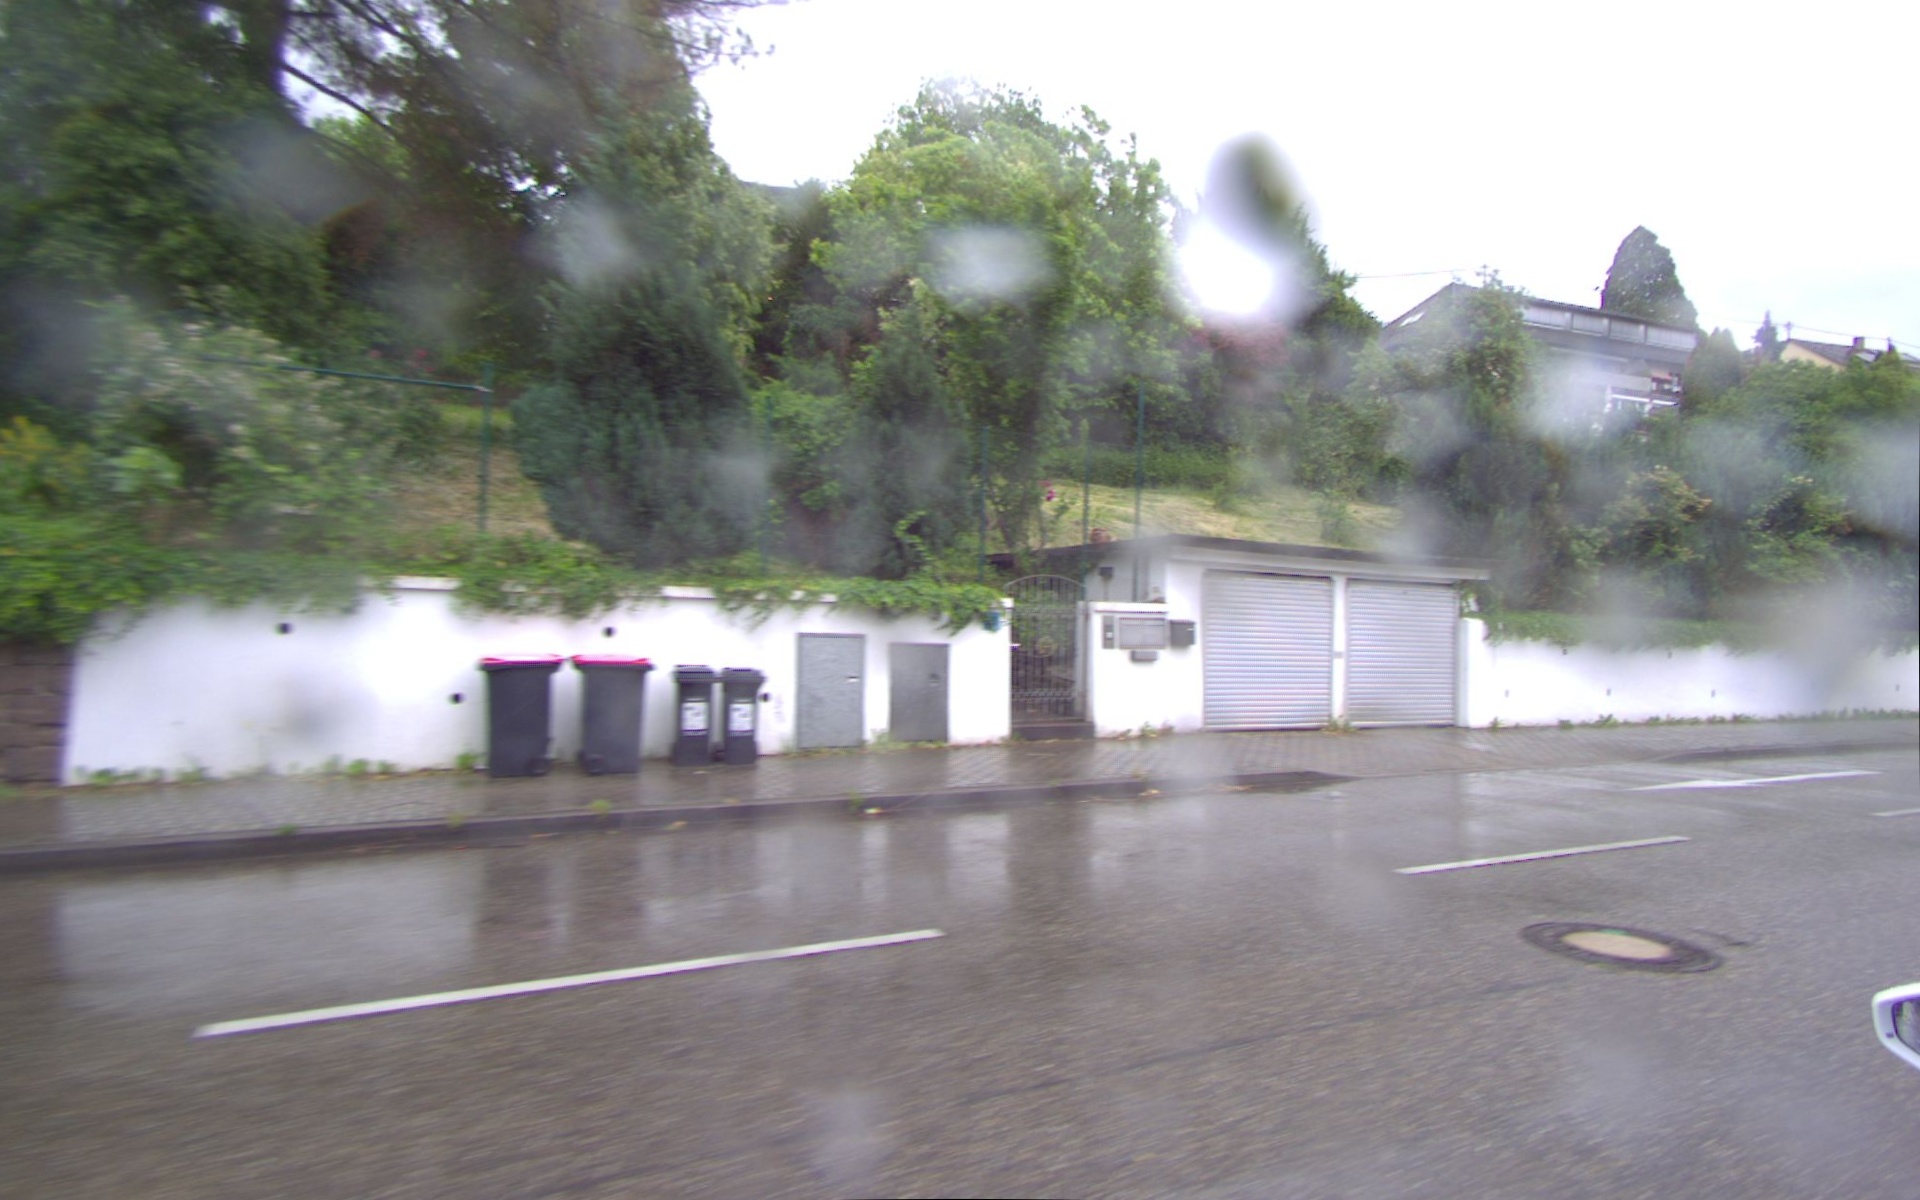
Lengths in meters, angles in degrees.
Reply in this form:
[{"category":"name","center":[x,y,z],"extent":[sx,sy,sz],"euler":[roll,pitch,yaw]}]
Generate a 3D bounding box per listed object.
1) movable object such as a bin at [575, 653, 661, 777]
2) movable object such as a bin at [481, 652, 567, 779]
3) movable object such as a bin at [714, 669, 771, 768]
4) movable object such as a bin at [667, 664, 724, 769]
[{"category":"movable object such as a bin","center":[-3.181,1.042,9.323],"extent":[0.649,1.054,0.678],"euler":[2,-1,-27]},{"category":"movable object such as a bin","center":[-3.933,1.015,9.041],"extent":[0.649,1.054,0.678],"euler":[2,-1,-27]},{"category":"movable object such as a bin","center":[-2.158,1.158,9.955],"extent":[0.411,0.910,0.529],"euler":[2,0,-27]},{"category":"movable object such as a bin","center":[-2.578,1.120,9.770],"extent":[0.411,0.952,0.541],"euler":[2,0,-27]}]
